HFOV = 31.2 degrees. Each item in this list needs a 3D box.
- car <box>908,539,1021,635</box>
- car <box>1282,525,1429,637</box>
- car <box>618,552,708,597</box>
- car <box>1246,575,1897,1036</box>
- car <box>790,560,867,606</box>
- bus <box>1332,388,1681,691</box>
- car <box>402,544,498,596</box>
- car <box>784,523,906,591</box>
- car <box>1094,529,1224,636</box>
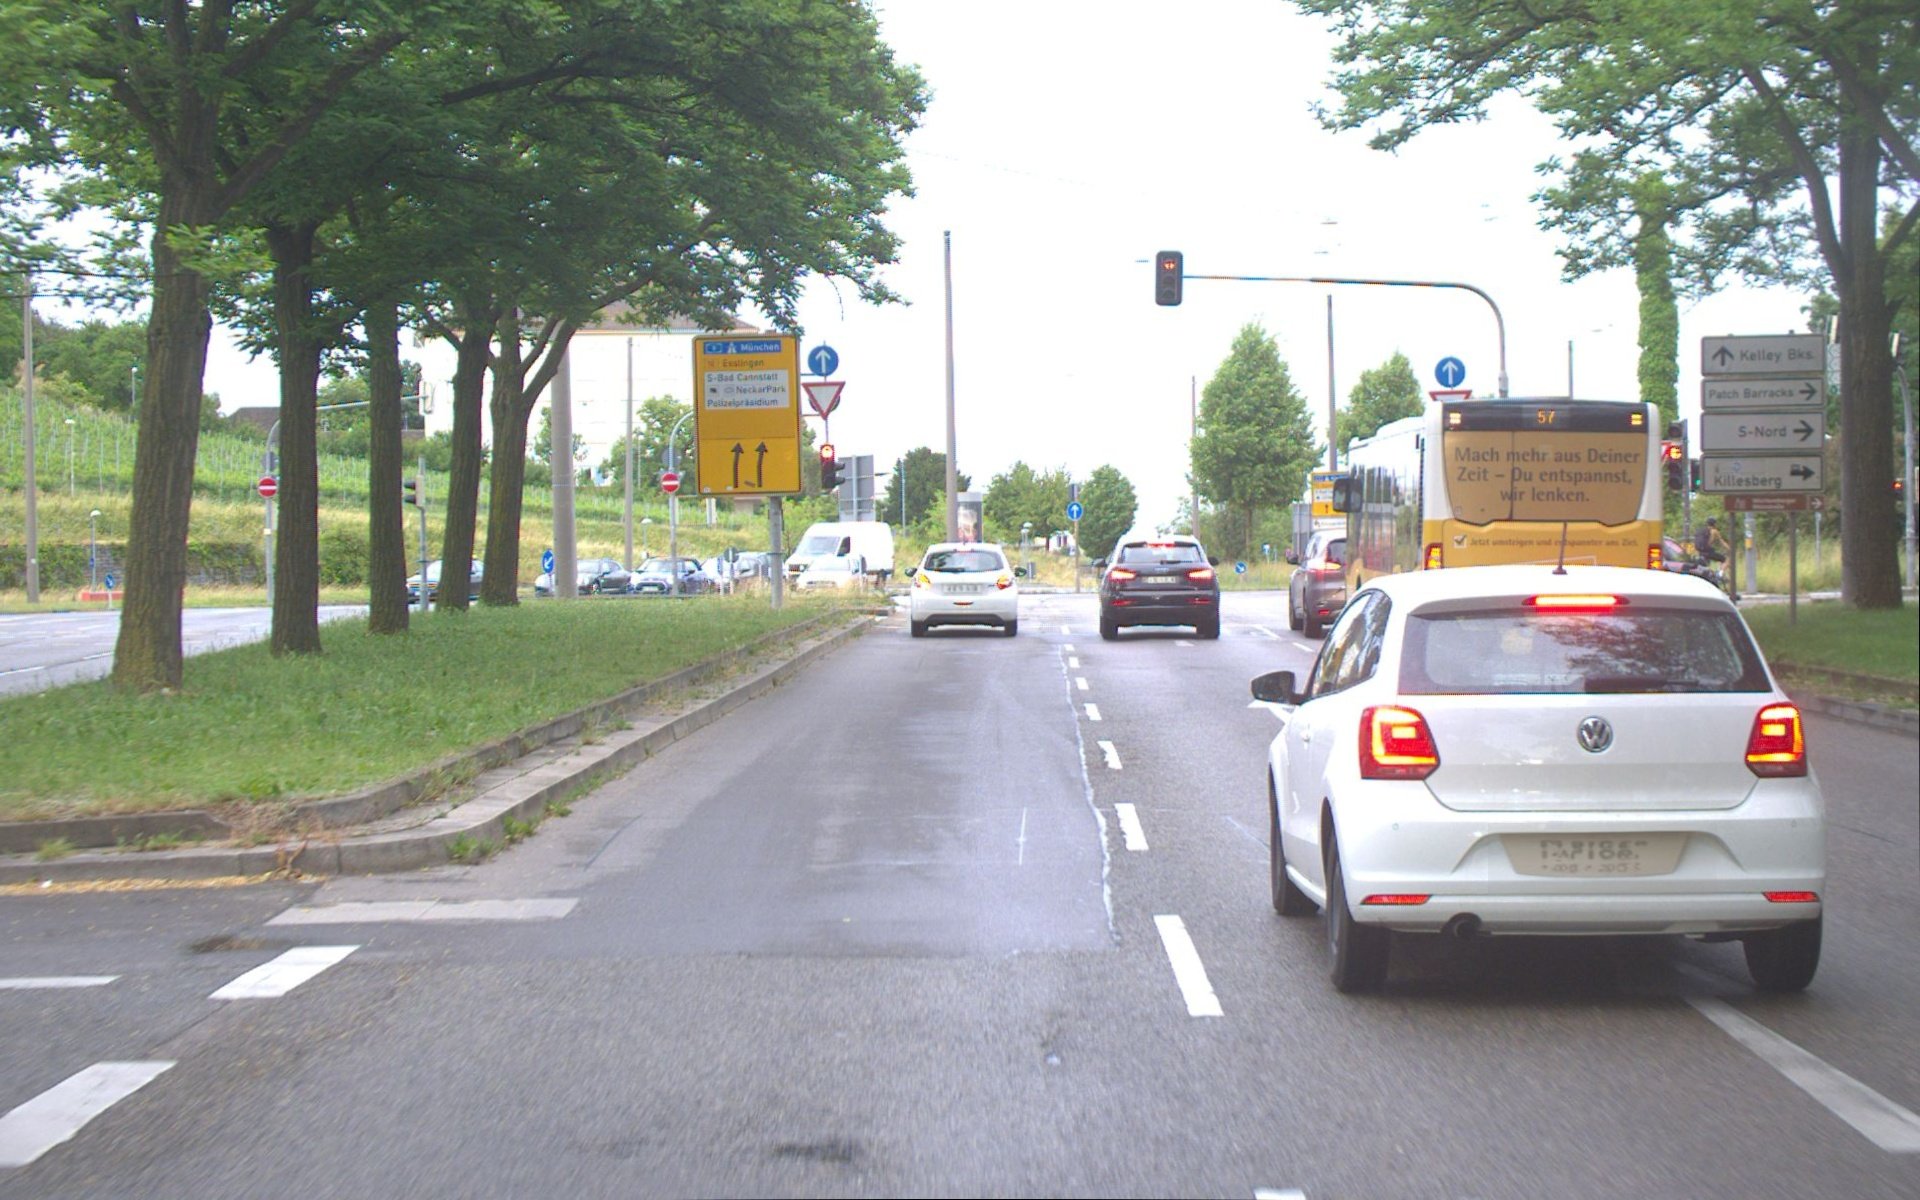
[{"bbox_3d":[0.106,-0.225,55.429,1.718,1.484,4.000,0,1,1],"label":"car"},{"bbox_3d":[6.226,-0.339,54.501,1.865,1.668,4.566,0,2,1],"label":"car"},{"bbox_3d":[-9.455,-0.812,109.819,1.787,1.391,3.880,0,0,12],"label":"car"},{"bbox_3d":[2.098,0.638,12.816,1.741,1.427,3.812,1,1,0],"label":"car"},{"bbox_3d":[-4.200,-0.547,110.434,1.776,1.420,4.373,-1,0,7],"label":"car"},{"bbox_3d":[6.367,-0.797,42.040,2.727,3.141,12.146,1,2,2],"label":"bus"},{"bbox_3d":[-16.381,-0.968,110.663,1.830,1.618,4.565,1,1,8],"label":"car"},{"bbox_3d":[-4.430,-1.659,133.557,1.996,2.550,6.161,1,1,27],"label":"car"},{"bbox_3d":[3.071,-0.283,53.686,1.884,1.590,4.113,1,1,2],"label":"car"}]
